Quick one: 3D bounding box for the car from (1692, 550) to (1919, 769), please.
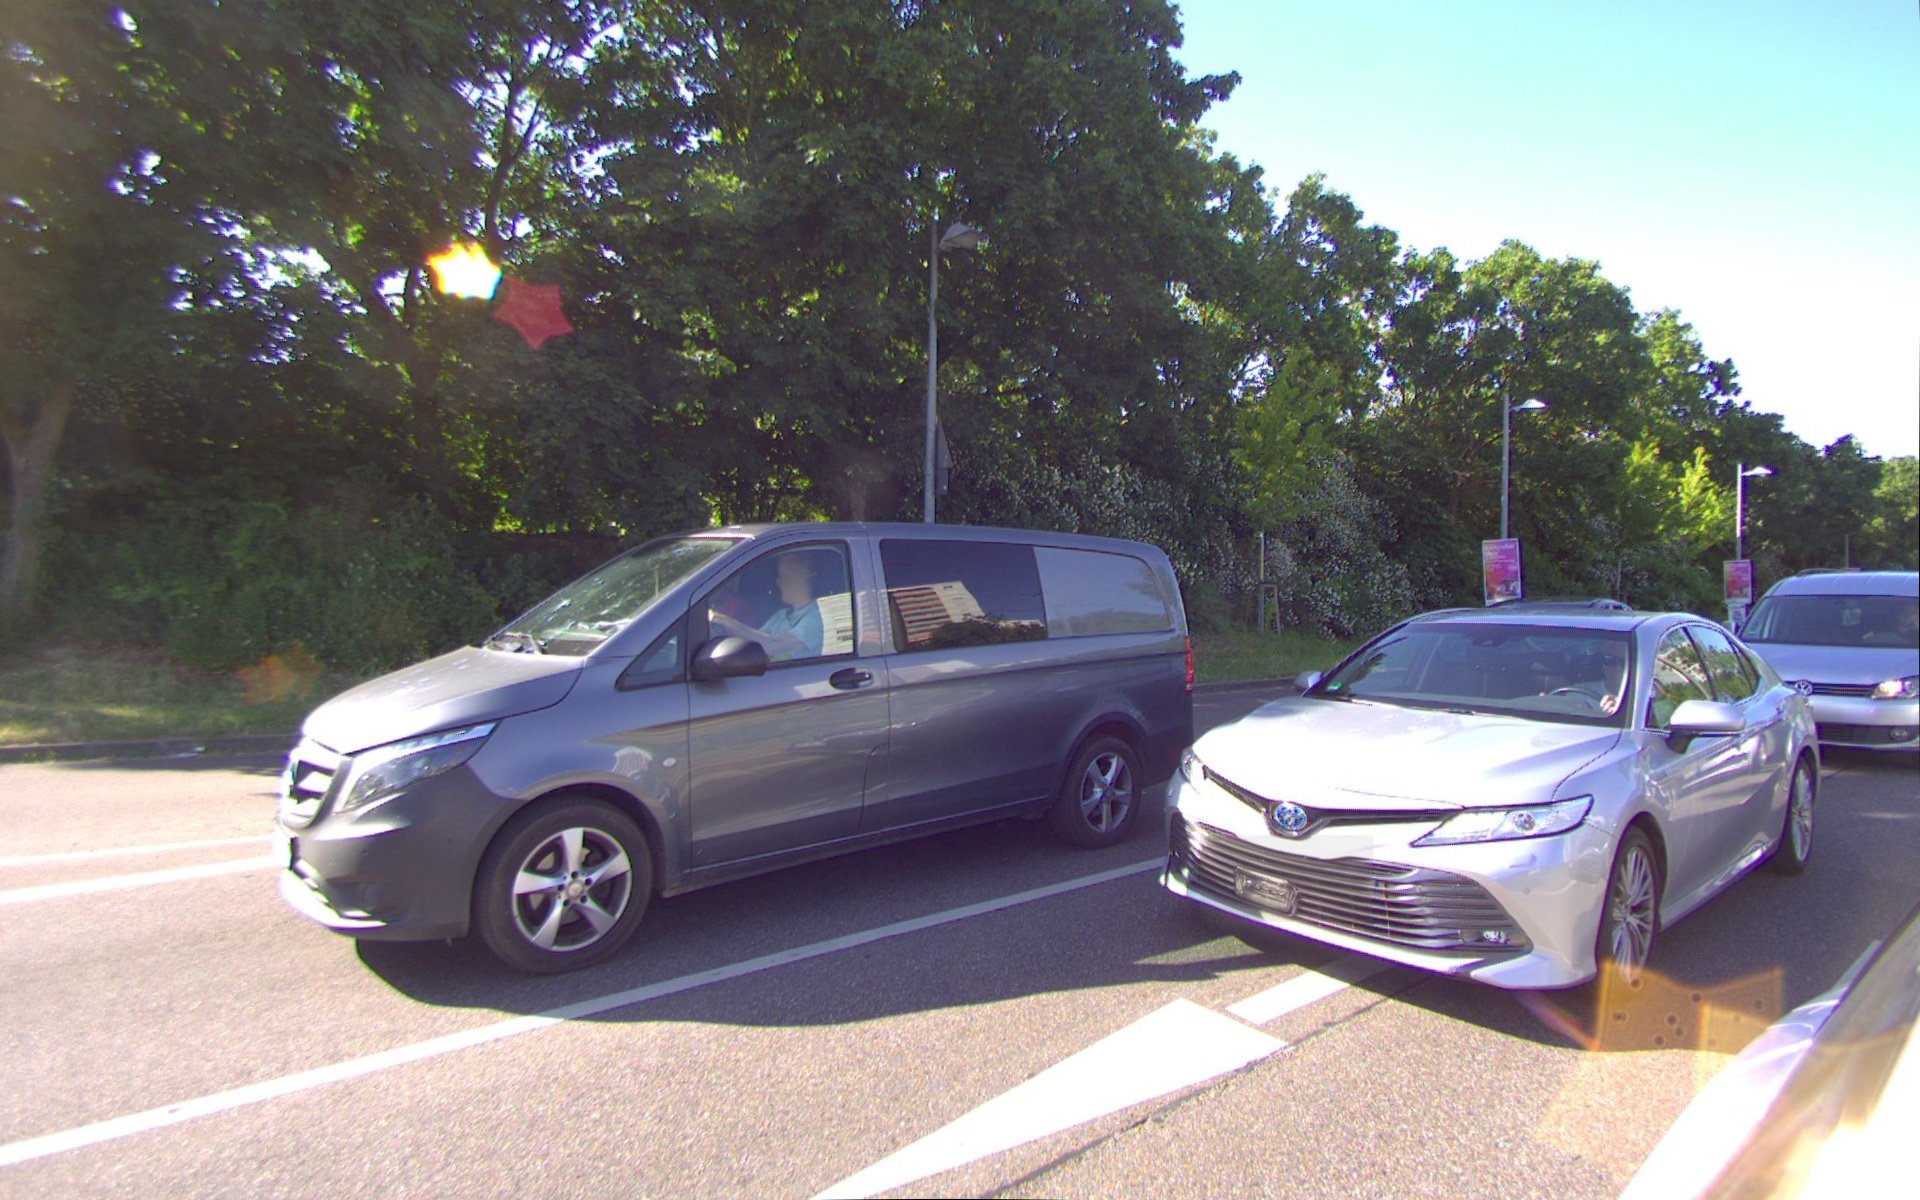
[{"bbox_3d":[9.394,0.469,10.474,4.504,1.844,1.809,-1,1,-39],"label":"car"}]

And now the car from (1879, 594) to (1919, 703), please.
[{"bbox_3d":[14.847,0.681,14.789,4.126,1.472,1.715,0,1,-43],"label":"car"}]

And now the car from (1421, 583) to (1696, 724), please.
[{"bbox_3d":[7.781,0.555,13.002,4.151,1.527,1.771,-1,0,-40],"label":"car"}]

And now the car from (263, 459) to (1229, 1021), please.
[{"bbox_3d":[-0.788,0.437,5.663,5.011,1.875,1.809,0,2,-39],"label":"car"}]

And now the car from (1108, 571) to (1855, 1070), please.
[{"bbox_3d":[2.991,0.666,5.251,4.599,1.512,1.808,0,0,-40],"label":"car"}]
